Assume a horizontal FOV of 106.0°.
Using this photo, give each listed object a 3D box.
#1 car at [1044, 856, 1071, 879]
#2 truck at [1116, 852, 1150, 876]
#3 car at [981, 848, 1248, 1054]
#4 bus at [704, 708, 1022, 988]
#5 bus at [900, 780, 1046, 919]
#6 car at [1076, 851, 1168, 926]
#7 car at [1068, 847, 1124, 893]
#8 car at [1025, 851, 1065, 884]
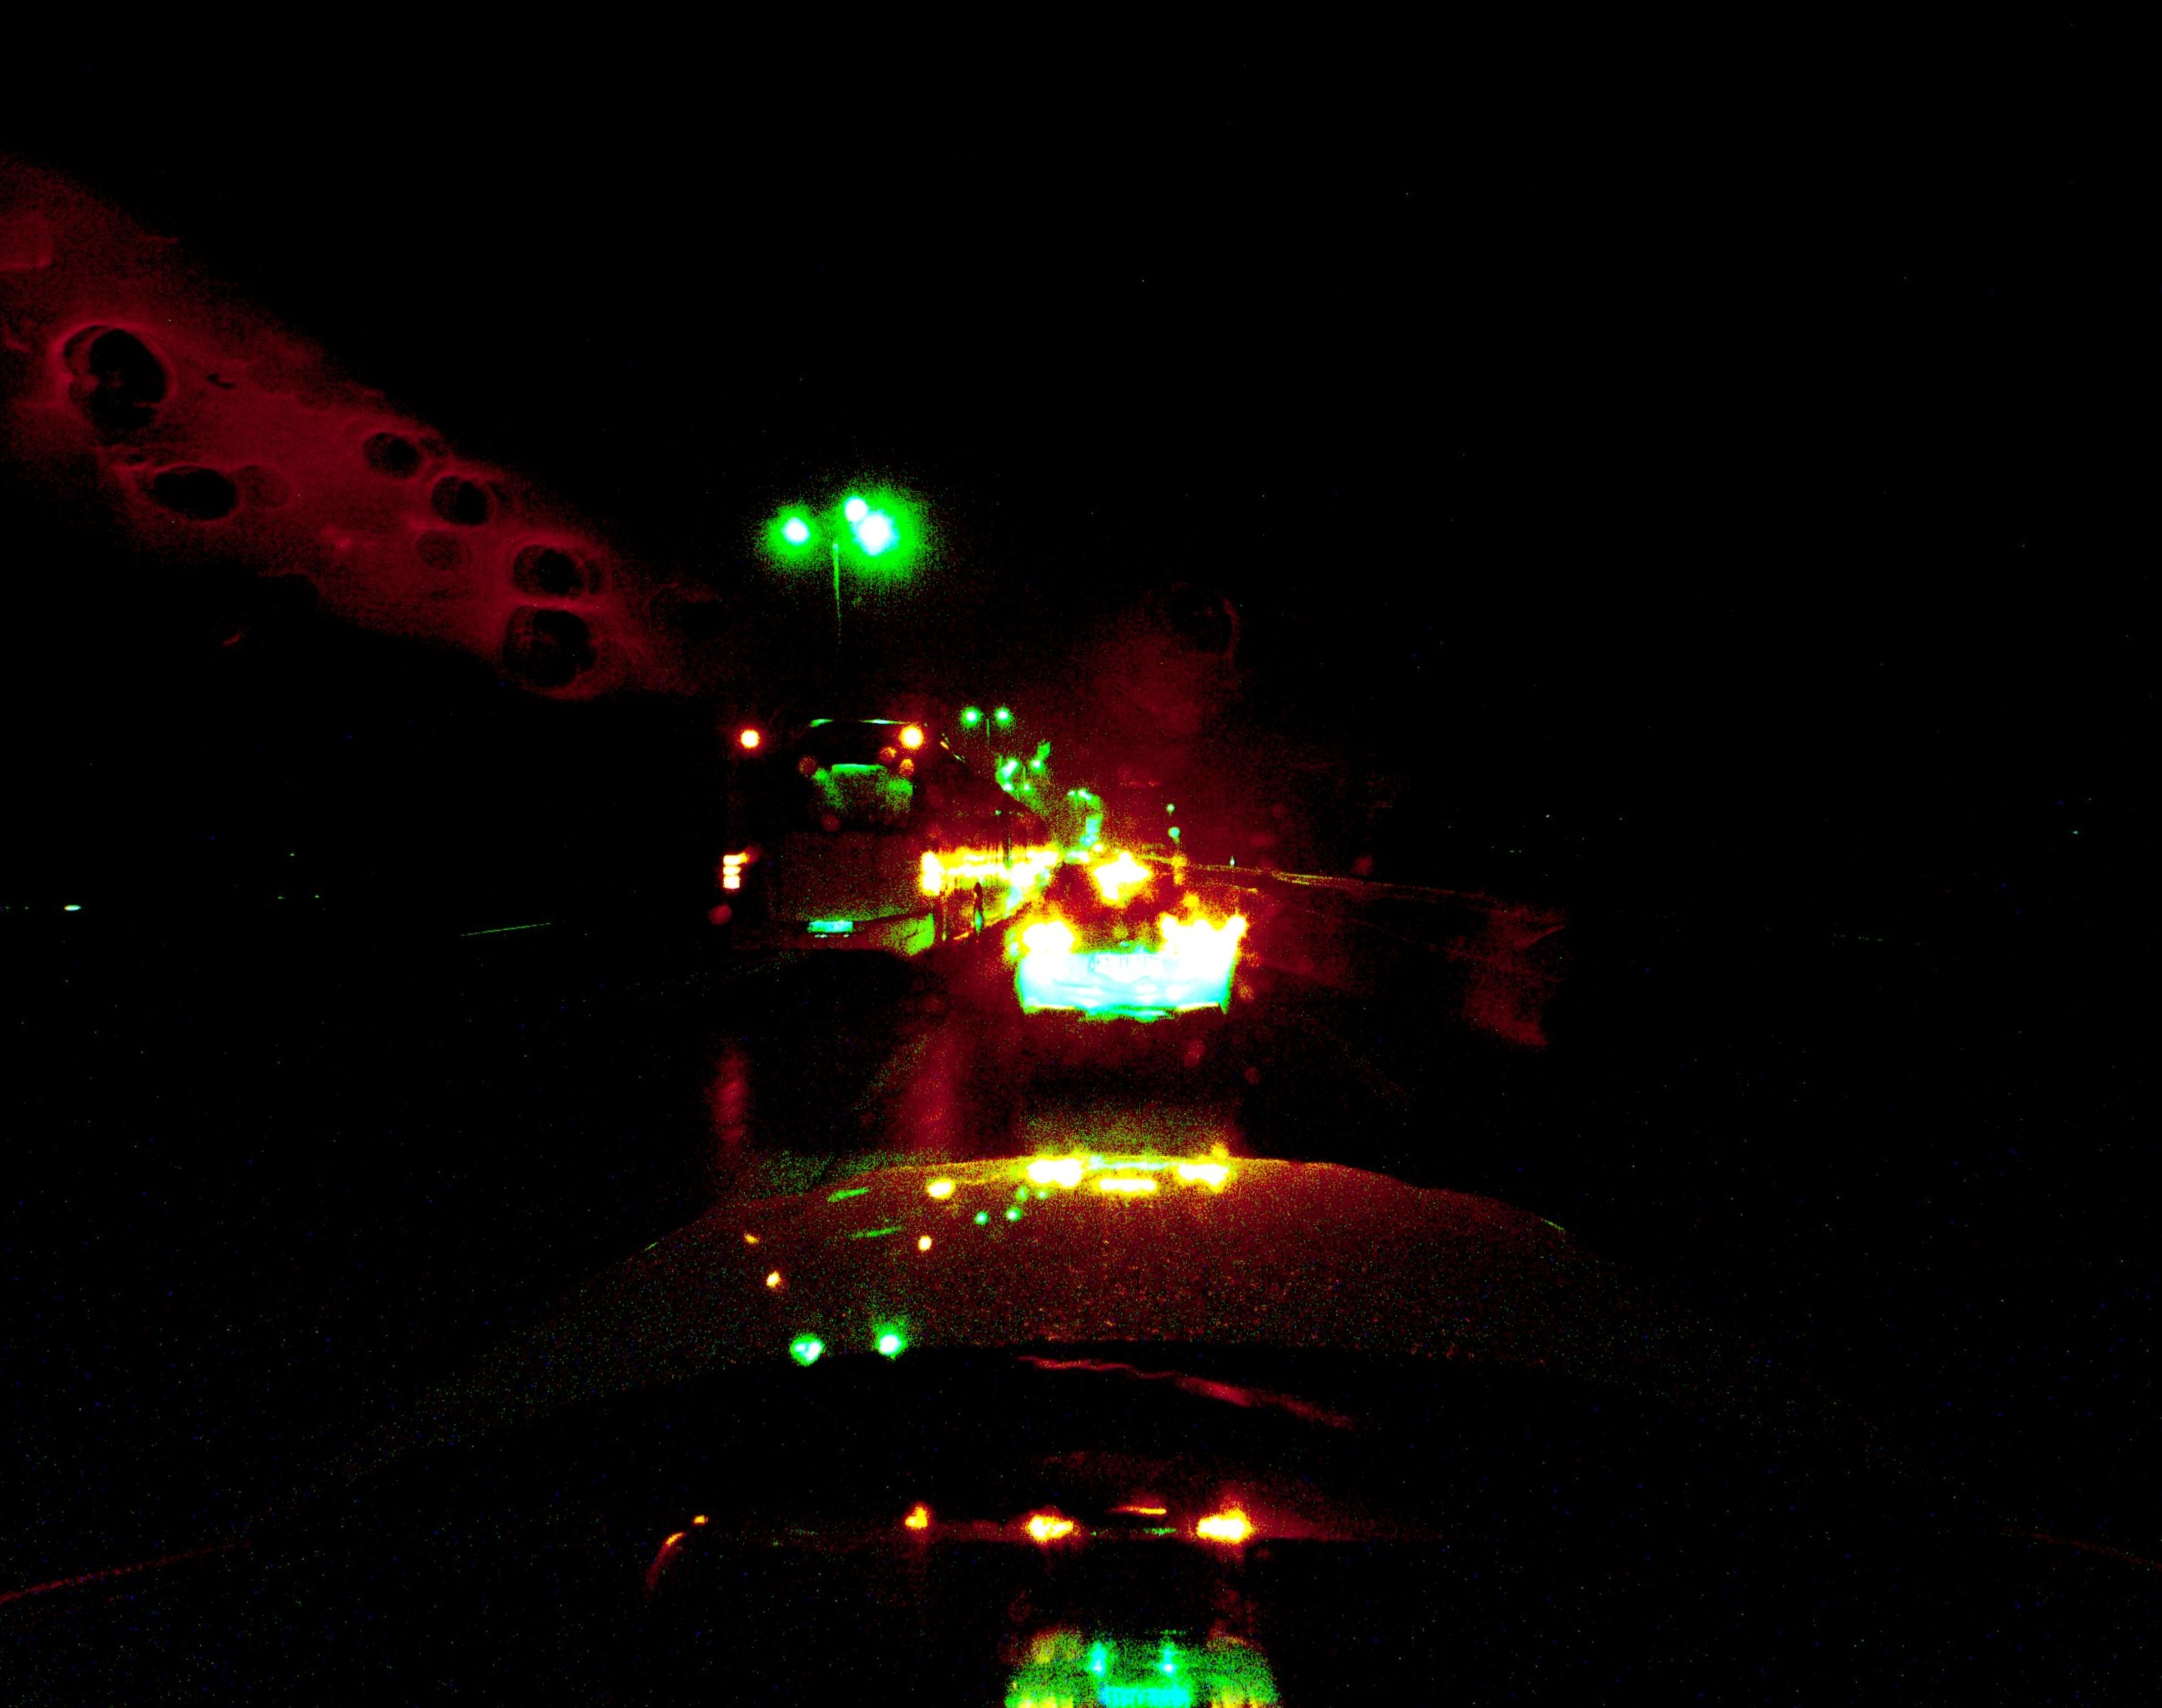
[{"bbox_3d":[-1.529,0.939,54.738,1.552,1.487,3.810,1,-1,2],"label":"car"},{"bbox_3d":[5.787,1.079,90.222,3.051,2.528,7.184,0,-1,9],"label":"truck"},{"bbox_3d":[0.364,0.724,7.809,1.936,1.491,3.720,-1,0,4],"label":"car"},{"bbox_3d":[-2.787,-0.099,13.783,2.734,3.123,9.203,1,0,1],"label":"bus"},{"bbox_3d":[-2.621,-0.130,22.743,2.734,3.123,8.705,1,0,1],"label":"bus"},{"bbox_3d":[0.874,0.699,18.107,1.815,1.461,3.717,-1,0,2],"label":"car"},{"bbox_3d":[0.549,0.538,28.559,1.815,1.461,3.717,-1,0,2],"label":"car"},{"bbox_3d":[-1.663,0.639,38.576,1.552,1.487,3.810,1,-1,2],"label":"car"}]
